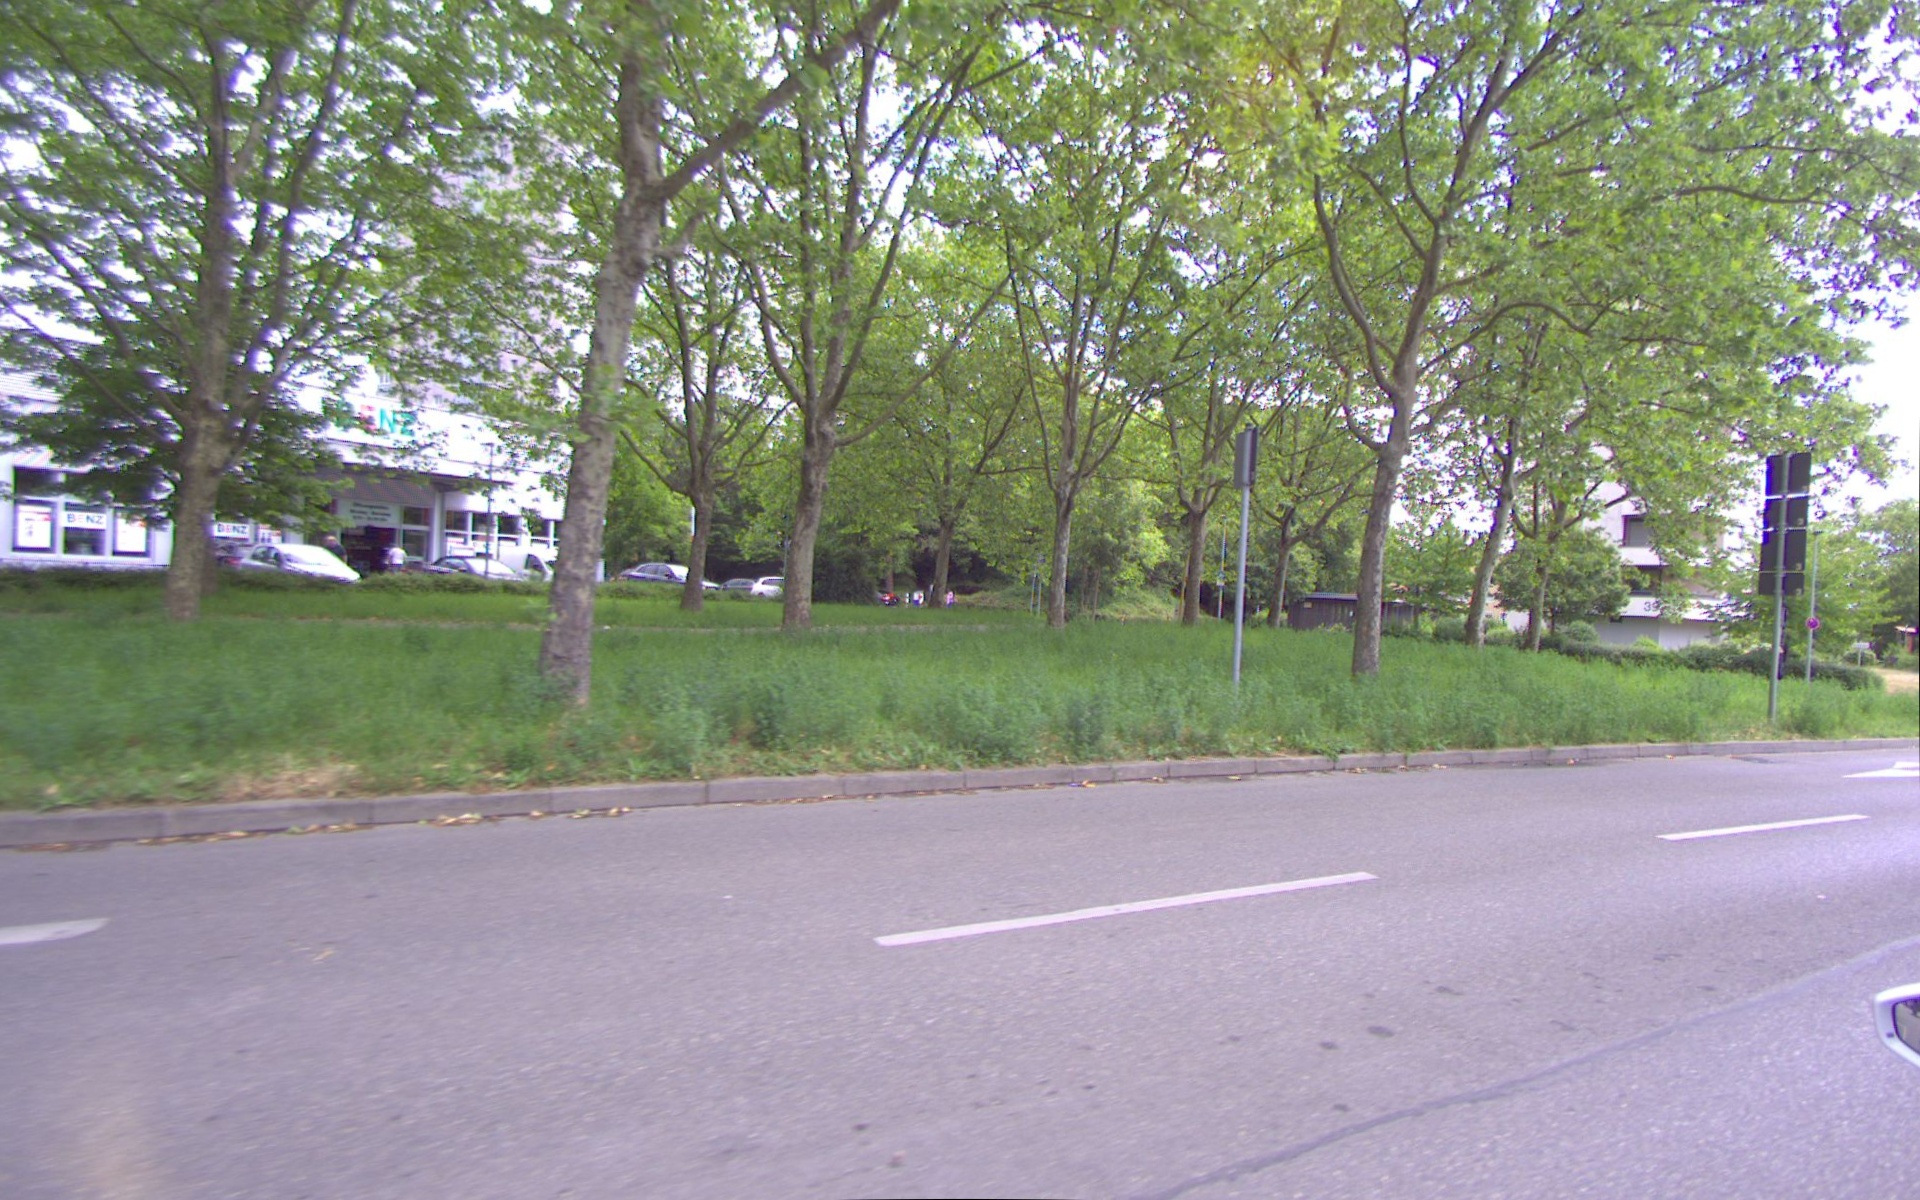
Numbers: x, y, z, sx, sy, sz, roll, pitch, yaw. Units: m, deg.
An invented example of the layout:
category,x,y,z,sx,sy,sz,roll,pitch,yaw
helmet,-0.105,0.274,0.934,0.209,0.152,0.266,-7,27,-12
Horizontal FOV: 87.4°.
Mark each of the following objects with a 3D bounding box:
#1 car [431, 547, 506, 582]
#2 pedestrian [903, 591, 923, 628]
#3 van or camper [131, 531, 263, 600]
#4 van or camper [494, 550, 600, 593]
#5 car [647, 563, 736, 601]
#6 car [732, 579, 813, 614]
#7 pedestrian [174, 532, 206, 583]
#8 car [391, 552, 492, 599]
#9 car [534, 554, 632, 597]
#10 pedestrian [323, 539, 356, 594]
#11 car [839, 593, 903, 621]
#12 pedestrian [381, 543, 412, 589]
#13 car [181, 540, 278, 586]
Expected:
category,x,y,z,sx,sy,sz,roll,pitch,yaw
car,-21.615,-1.555,44.145,3.351,1.423,1.480,2,0,34
pedestrian,-2.598,0.515,55.416,0.967,1.976,1.084,4,0,-4
van or camper,-20.418,-0.926,26.831,3.936,1.706,1.839,2,2,38
van or camper,-14.334,-0.987,34.786,3.709,1.374,1.514,2,0,32
car,-10.666,-0.713,39.897,3.193,1.272,1.690,4,0,34
car,-8.757,-0.179,46.858,3.686,1.520,1.727,2,0,39
pedestrian,-26.956,-1.485,35.166,0.727,1.768,0.619,2,0,32
car,-16.521,-0.781,31.956,3.352,1.423,1.480,2,0,36
car,-14.082,-0.928,37.464,3.826,1.485,1.480,2,0,34
pedestrian,-18.561,-0.984,30.025,0.788,1.607,0.792,1,0,-34
car,-5.134,0.402,57.716,3.252,1.338,1.598,4,0,30
pedestrian,-24.166,-1.451,43.108,1.061,1.896,1.053,1,0,-26
car,-26.020,-1.297,35.723,4.202,1.520,1.727,2,0,39
